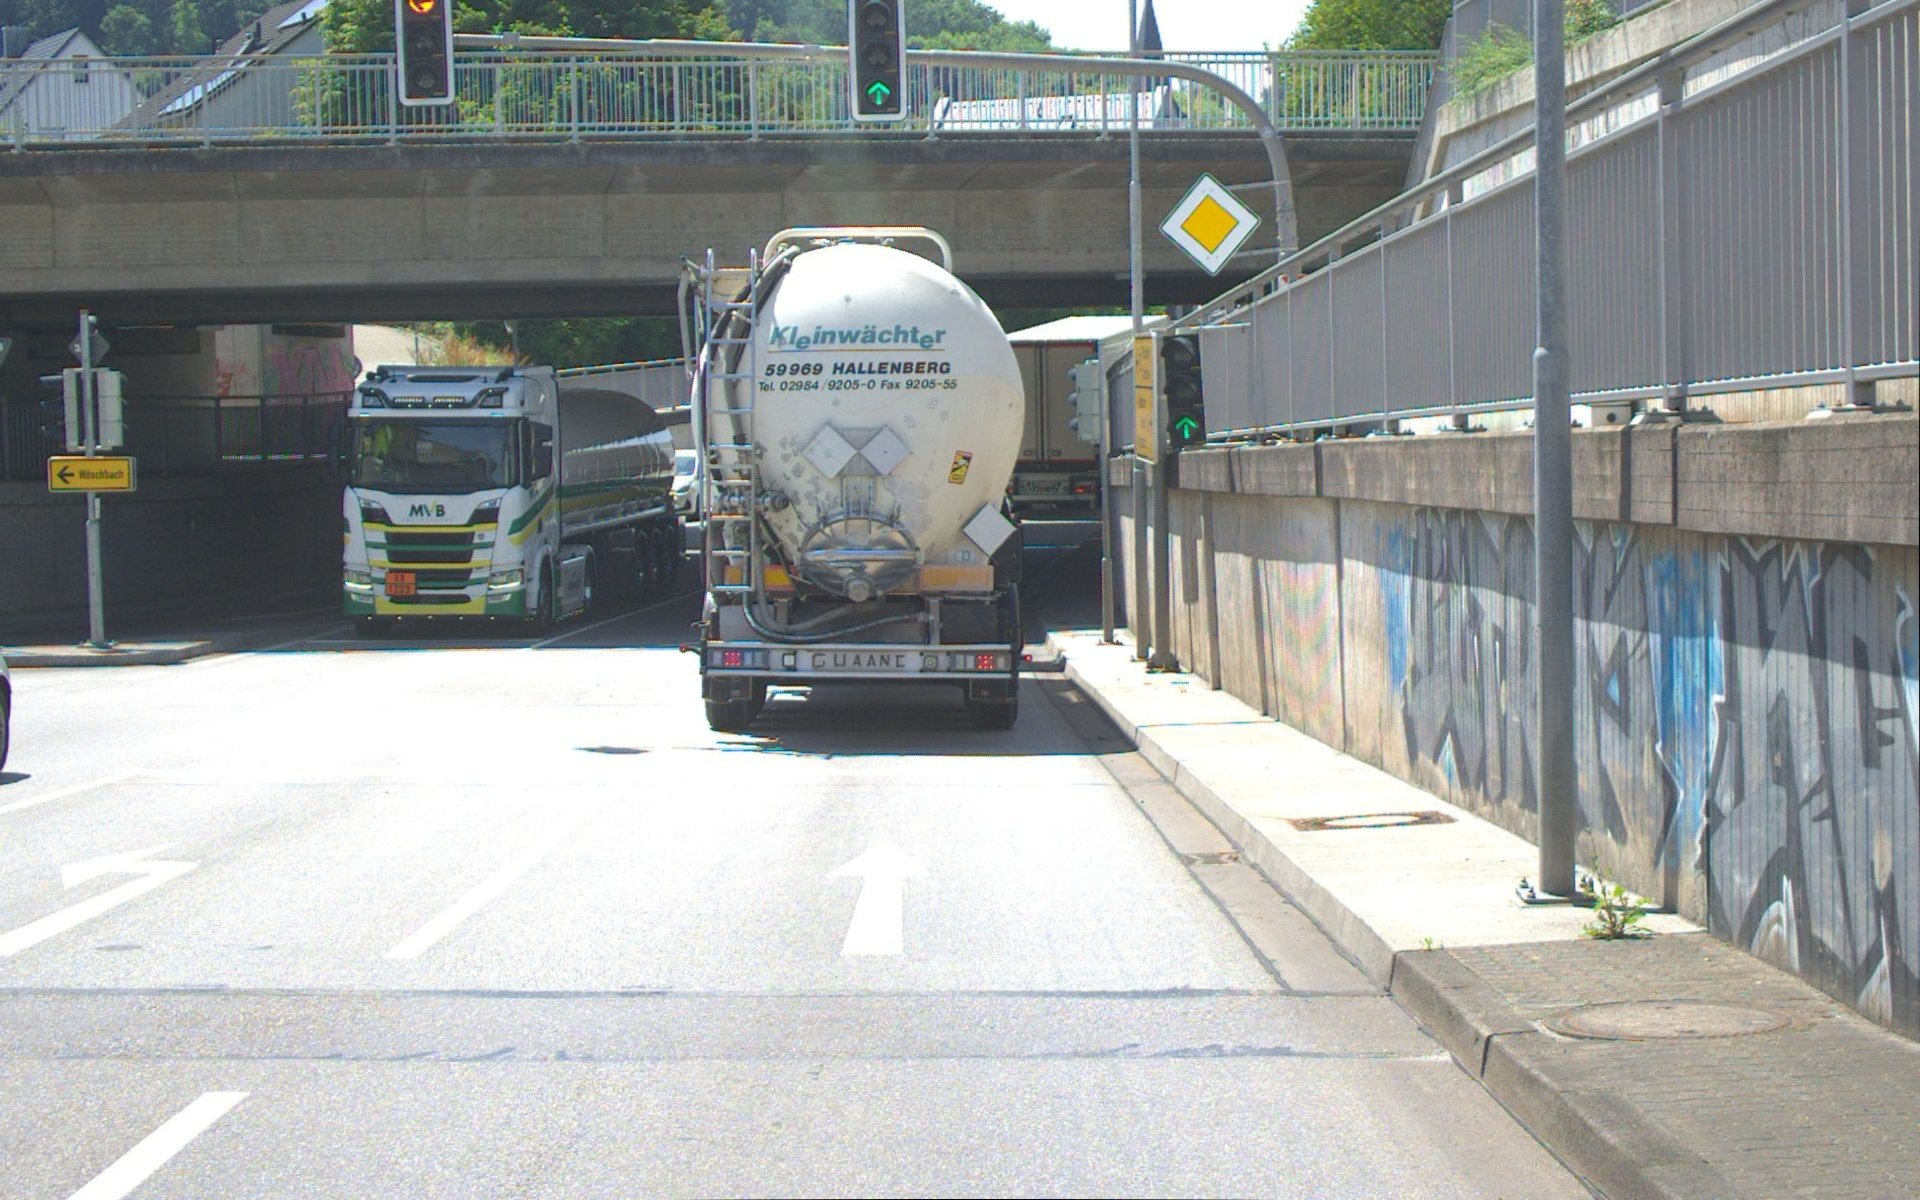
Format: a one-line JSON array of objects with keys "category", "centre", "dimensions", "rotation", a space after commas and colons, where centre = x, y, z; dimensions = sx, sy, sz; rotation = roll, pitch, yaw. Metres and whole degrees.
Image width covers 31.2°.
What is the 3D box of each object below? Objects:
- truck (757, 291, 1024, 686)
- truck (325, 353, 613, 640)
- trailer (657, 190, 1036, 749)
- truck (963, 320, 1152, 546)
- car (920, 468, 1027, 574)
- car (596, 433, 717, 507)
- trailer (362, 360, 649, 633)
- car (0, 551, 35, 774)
[{"category": "truck", "centre": [-0.674, -1.208, 38.604], "dimensions": [2.735, 4.050, 6.529], "rotation": [0, 1, 1]}, {"category": "truck", "centre": [-6.673, -1.413, 47.797], "dimensions": [2.689, 3.651, 7.369], "rotation": [1, 1, 2]}, {"category": "trailer", "centre": [-0.743, -1.070, 31.606], "dimensions": [2.735, 4.050, 13.313], "rotation": [0, 1, 1]}, {"category": "truck", "centre": [2.442, -3.941, 81.538], "dimensions": [3.082, 4.982, 10.080], "rotation": [1, 3, 9]}, {"category": "car", "centre": [0.276, -1.510, 64.334], "dimensions": [1.882, 1.633, 4.001], "rotation": [0, 6, 2]}, {"category": "car", "centre": [-6.895, -2.990, 78.548], "dimensions": [1.781, 1.461, 3.832], "rotation": [2, 5, 10]}, {"category": "trailer", "centre": [-6.580, -1.511, 51.319], "dimensions": [2.689, 3.651, 9.889], "rotation": [1, 1, 2]}, {"category": "car", "centre": [-7.021, 0.419, 20.905], "dimensions": [1.682, 1.436, 4.094], "rotation": [0, 1, 0]}]
